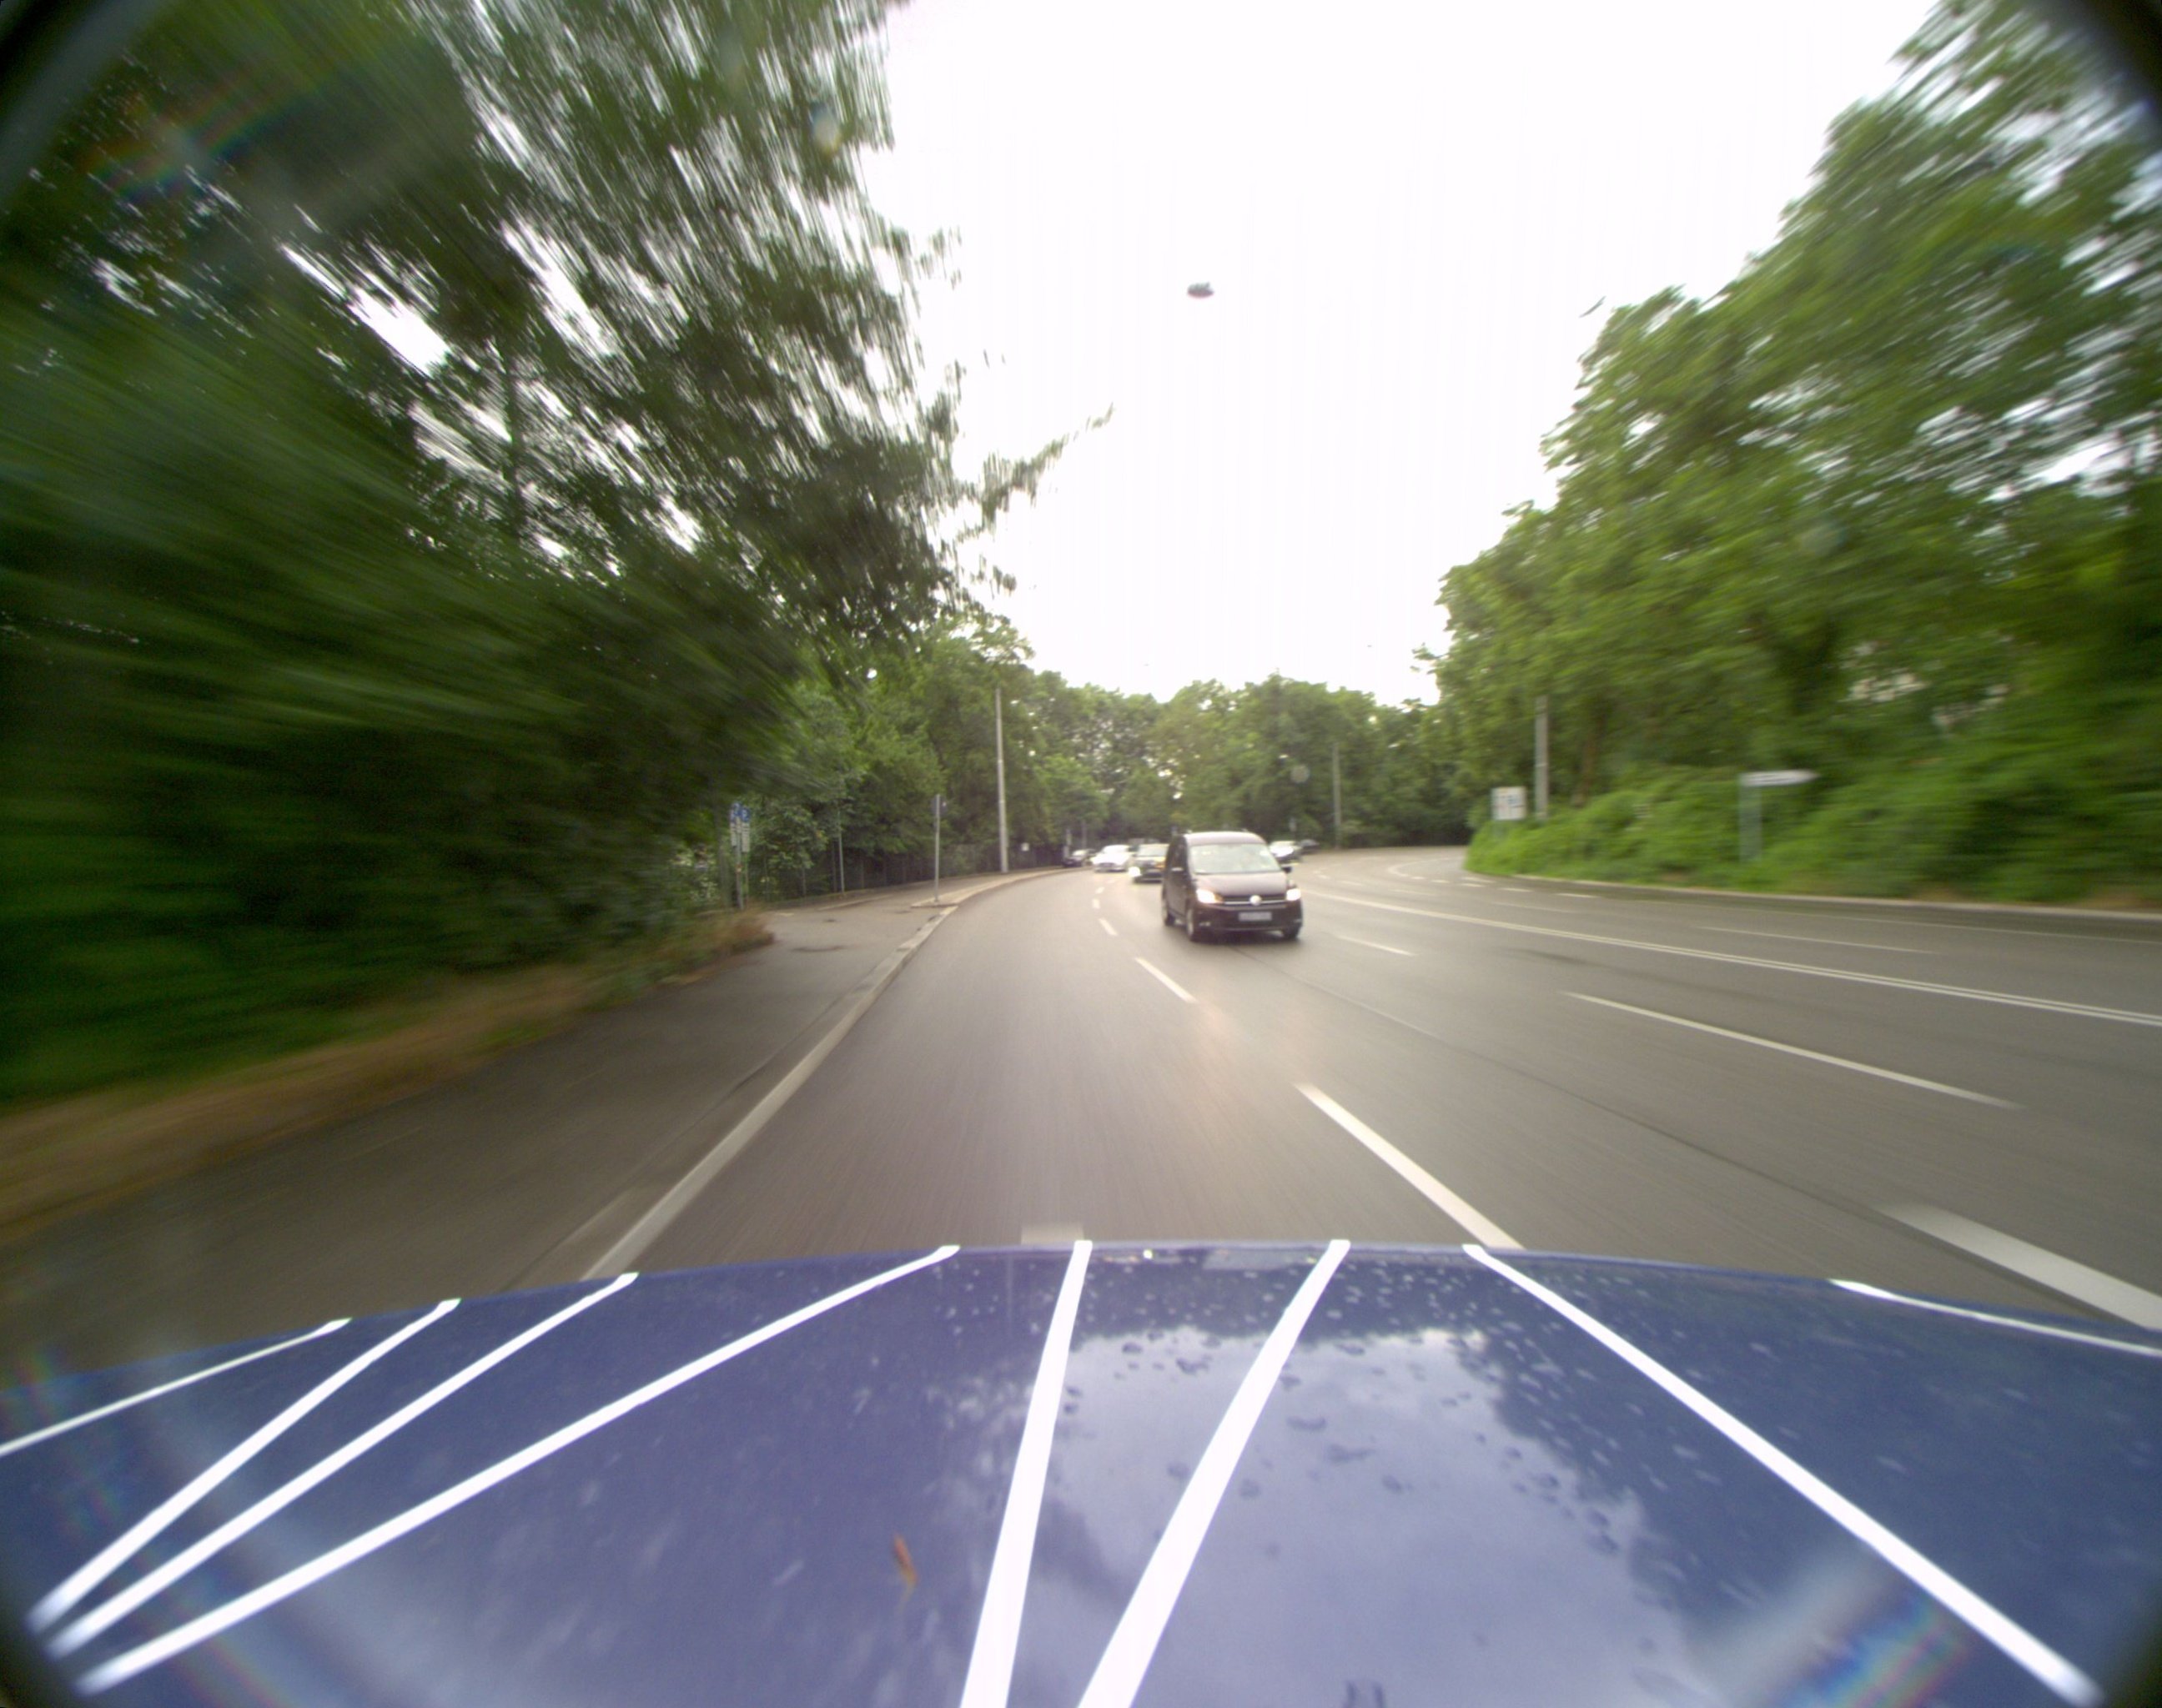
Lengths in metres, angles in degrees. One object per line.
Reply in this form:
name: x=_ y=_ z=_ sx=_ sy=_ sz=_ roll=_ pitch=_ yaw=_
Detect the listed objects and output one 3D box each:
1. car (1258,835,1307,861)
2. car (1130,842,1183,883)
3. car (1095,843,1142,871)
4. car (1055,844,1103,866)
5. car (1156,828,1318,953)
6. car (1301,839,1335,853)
car: x=14.811 y=-0.462 z=55.713 sx=1.994 sy=1.735 sz=4.663 roll=0 pitch=2 yaw=34
car: x=3.273 y=0.302 z=32.152 sx=1.929 sy=1.532 sz=4.002 roll=-2 pitch=1 yaw=9
car: x=2.209 y=0.155 z=43.865 sx=1.793 sy=1.445 sz=4.003 roll=-1 pitch=2 yaw=16
car: x=-0.099 y=0.044 z=58.485 sx=1.874 sy=1.368 sz=4.181 roll=-6 pitch=-1 yaw=28
car: x=2.508 y=0.523 z=13.276 sx=1.795 sy=1.789 sz=4.124 roll=-2 pitch=1 yaw=-2
car: x=23.481 y=-0.793 z=75.207 sx=3.112 sy=1.325 sz=1.578 roll=-3 pitch=2 yaw=-35
